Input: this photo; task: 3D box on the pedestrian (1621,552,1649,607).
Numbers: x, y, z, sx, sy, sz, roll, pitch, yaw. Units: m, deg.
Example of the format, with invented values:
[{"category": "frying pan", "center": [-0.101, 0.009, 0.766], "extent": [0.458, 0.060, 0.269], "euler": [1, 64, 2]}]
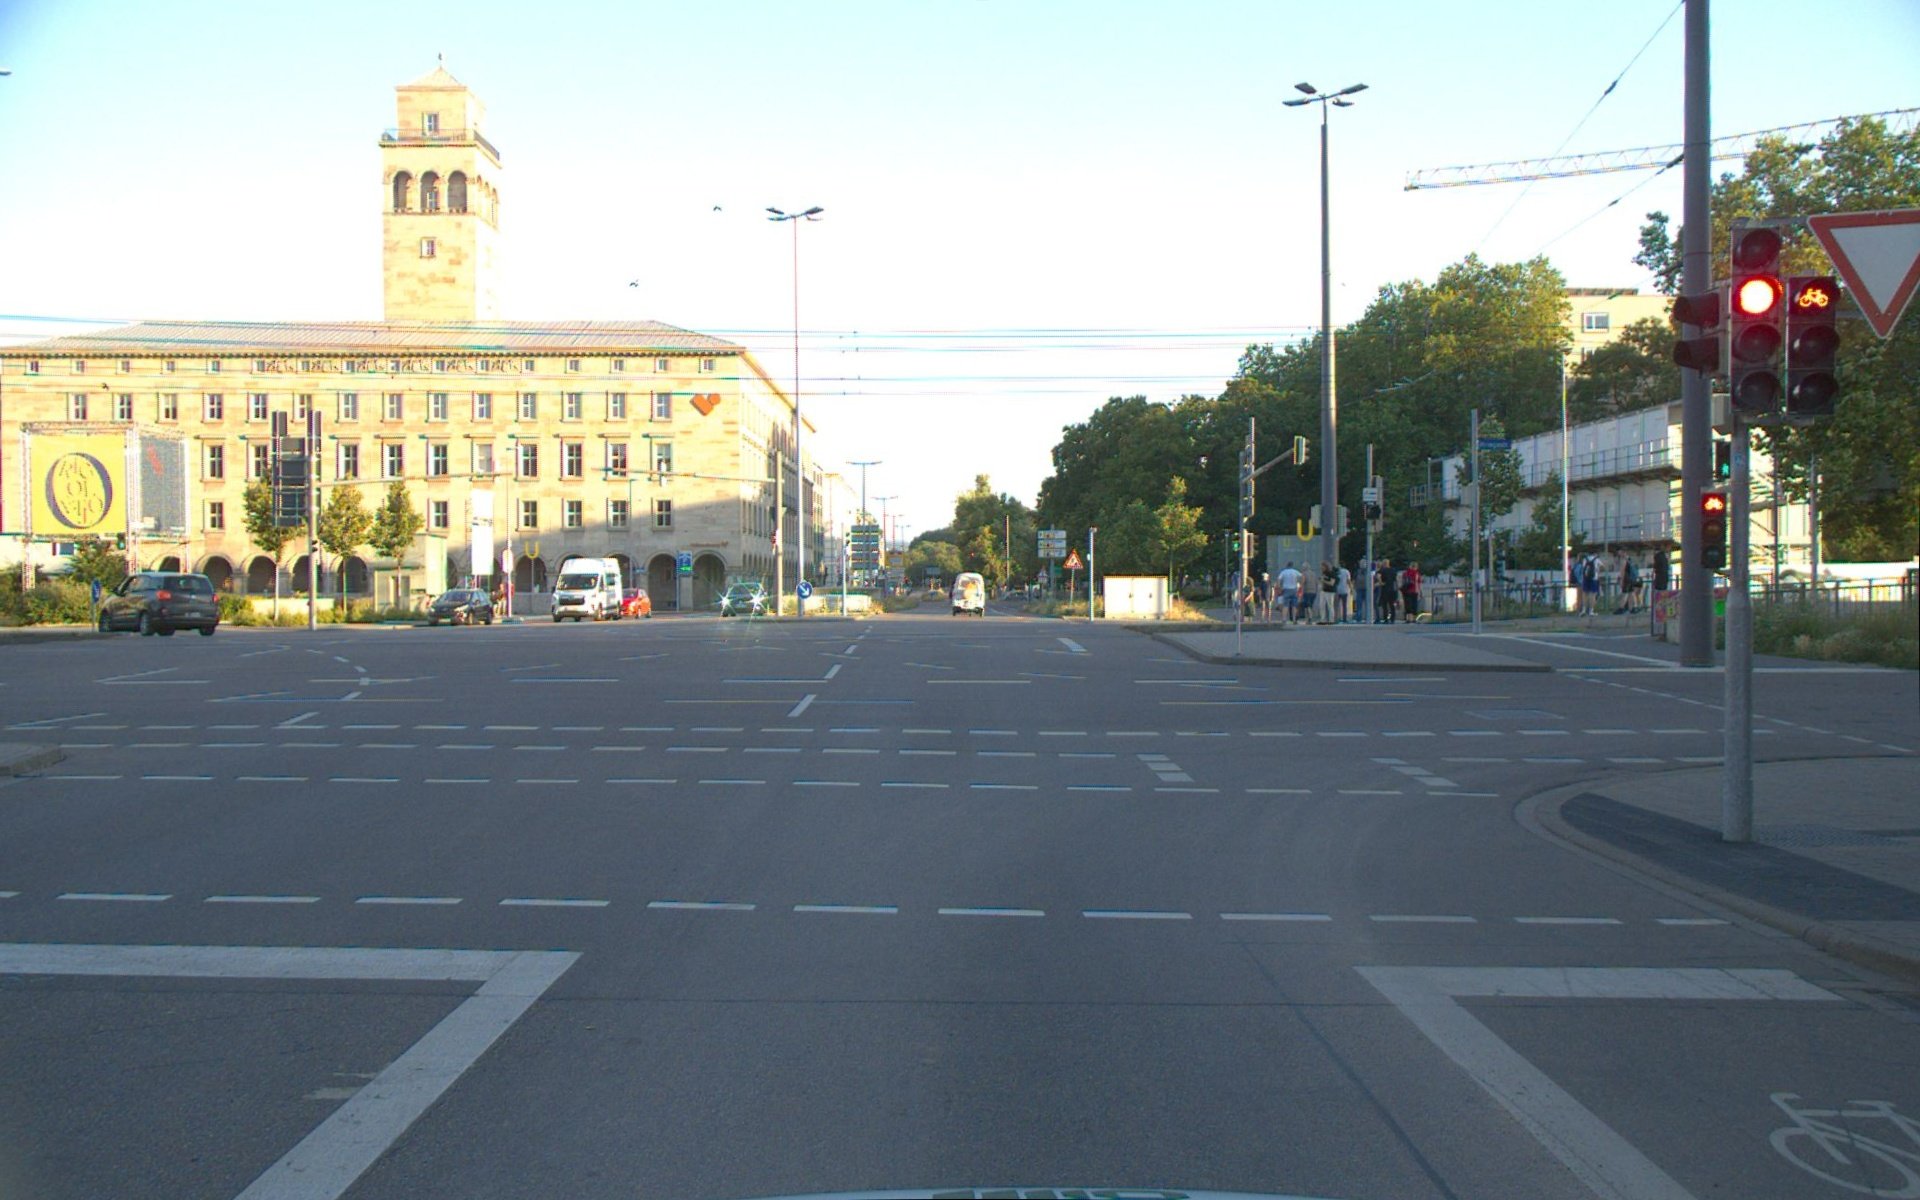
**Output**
[{"category": "pedestrian", "center": [18.071, -0.554, 44.279], "extent": [0.662, 1.466, 0.714], "euler": [0, 1, 21]}]

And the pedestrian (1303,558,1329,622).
[{"category": "pedestrian", "center": [9.903, -0.283, 45.938], "extent": [0.695, 1.755, 0.669], "euler": [0, 1, 13]}]

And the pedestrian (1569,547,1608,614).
[{"category": "pedestrian", "center": [16.650, -0.530, 43.825], "extent": [0.659, 1.755, 0.706], "euler": [-1, 1, -30]}]

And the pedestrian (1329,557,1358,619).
[{"category": "pedestrian", "center": [10.824, -0.344, 46.707], "extent": [0.696, 1.755, 0.915], "euler": [0, 1, 5]}]

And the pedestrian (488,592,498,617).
[{"category": "pedestrian", "center": [-24.754, 0.257, 87.738], "extent": [0.412, 1.323, 0.459], "euler": [1, -1, -6]}]

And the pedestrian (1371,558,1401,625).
[{"category": "pedestrian", "center": [11.790, -0.242, 45.793], "extent": [0.788, 1.822, 0.801], "euler": [0, 1, 13]}]

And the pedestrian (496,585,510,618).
[{"category": "pedestrian", "center": [-24.617, 0.099, 89.057], "extent": [0.609, 1.774, 0.459], "euler": [1, -1, -6]}]

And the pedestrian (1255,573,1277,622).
[{"category": "pedestrian", "center": [11.235, -0.087, 60.759], "extent": [0.665, 1.788, 0.902], "euler": [0, 1, 20]}]

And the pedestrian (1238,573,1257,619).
[{"category": "pedestrian", "center": [10.574, -0.162, 60.805], "extent": [0.548, 1.683, 0.902], "euler": [0, 1, 20]}]

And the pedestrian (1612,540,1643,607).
[{"category": "pedestrian", "center": [17.605, -0.700, 43.640], "extent": [0.696, 1.755, 0.669], "euler": [0, 1, 16]}]

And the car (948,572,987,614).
[{"category": "car", "center": [0.297, -0.299, 69.350], "extent": [1.453, 1.725, 2.972], "euler": [-1, 1, -3]}]

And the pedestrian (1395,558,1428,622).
[{"category": "pedestrian", "center": [12.608, -0.273, 46.202], "extent": [0.826, 1.764, 0.706], "euler": [0, 1, 11]}]

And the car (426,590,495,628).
[{"category": "car", "center": [-21.057, 0.348, 69.885], "extent": [1.786, 1.491, 4.156], "euler": [-1, 1, -2]}]

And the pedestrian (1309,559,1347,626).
[{"category": "pedestrian", "center": [9.689, -0.208, 43.523], "extent": [0.698, 1.755, 0.912], "euler": [0, 1, 35]}]

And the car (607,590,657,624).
[{"category": "car", "center": [-16.022, 0.322, 80.939], "extent": [1.703, 1.513, 4.000], "euler": [-1, 1, -1]}]

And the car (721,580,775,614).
[{"category": "car", "center": [-9.255, -0.147, 72.489], "extent": [1.785, 1.365, 4.001], "euler": [0, 1, 1]}]

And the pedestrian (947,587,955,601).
[{"category": "pedestrian", "center": [-1.065, -0.702, 194.437], "extent": [0.888, 1.700, 1.306], "euler": [-1, 1, -2]}]

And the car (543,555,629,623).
[{"category": "car", "center": [-16.245, -0.485, 72.234], "extent": [2.232, 2.824, 6.085], "euler": [-1, 1, 1]}]

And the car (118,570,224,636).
[{"category": "car", "center": [-20.790, 0.054, 43.503], "extent": [1.726, 1.632, 4.079], "euler": [-1, 1, -37]}]

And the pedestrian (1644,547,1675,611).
[{"category": "pedestrian", "center": [19.197, -0.580, 45.373], "extent": [0.655, 1.755, 0.711], "euler": [0, 1, 34]}]

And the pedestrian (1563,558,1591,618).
[{"category": "pedestrian", "center": [16.831, -0.329, 45.098], "extent": [0.559, 1.620, 0.536], "euler": [-1, 0, -1]}]

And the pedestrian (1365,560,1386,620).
[{"category": "pedestrian", "center": [11.888, -0.292, 47.309], "extent": [0.560, 1.708, 0.639], "euler": [0, 1, 13]}]

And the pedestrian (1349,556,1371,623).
[{"category": "pedestrian", "center": [11.084, -0.298, 45.829], "extent": [0.560, 1.822, 0.639], "euler": [0, 1, 13]}]

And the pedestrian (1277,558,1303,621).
[{"category": "pedestrian", "center": [9.170, -0.296, 45.933], "extent": [0.695, 1.755, 0.669], "euler": [0, 1, 14]}]
